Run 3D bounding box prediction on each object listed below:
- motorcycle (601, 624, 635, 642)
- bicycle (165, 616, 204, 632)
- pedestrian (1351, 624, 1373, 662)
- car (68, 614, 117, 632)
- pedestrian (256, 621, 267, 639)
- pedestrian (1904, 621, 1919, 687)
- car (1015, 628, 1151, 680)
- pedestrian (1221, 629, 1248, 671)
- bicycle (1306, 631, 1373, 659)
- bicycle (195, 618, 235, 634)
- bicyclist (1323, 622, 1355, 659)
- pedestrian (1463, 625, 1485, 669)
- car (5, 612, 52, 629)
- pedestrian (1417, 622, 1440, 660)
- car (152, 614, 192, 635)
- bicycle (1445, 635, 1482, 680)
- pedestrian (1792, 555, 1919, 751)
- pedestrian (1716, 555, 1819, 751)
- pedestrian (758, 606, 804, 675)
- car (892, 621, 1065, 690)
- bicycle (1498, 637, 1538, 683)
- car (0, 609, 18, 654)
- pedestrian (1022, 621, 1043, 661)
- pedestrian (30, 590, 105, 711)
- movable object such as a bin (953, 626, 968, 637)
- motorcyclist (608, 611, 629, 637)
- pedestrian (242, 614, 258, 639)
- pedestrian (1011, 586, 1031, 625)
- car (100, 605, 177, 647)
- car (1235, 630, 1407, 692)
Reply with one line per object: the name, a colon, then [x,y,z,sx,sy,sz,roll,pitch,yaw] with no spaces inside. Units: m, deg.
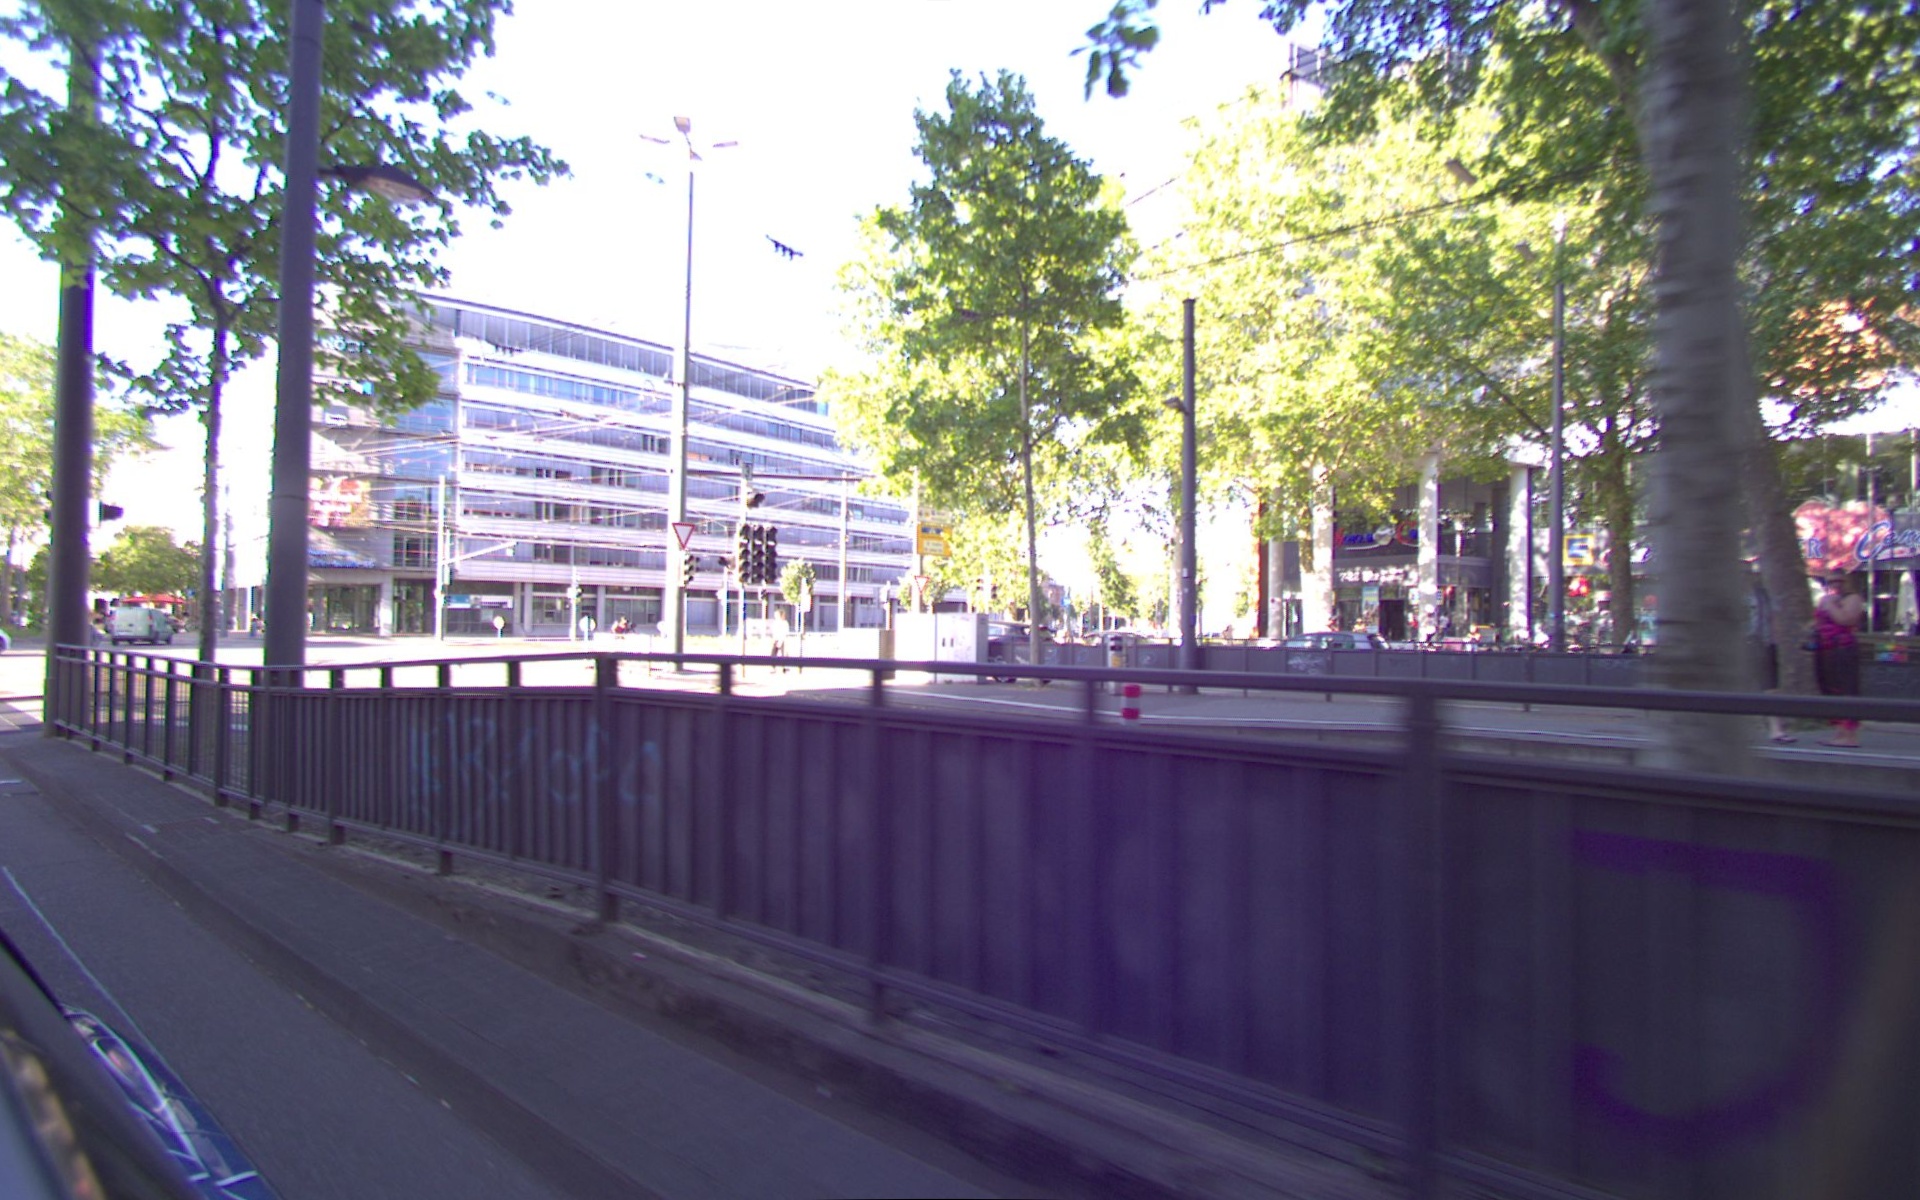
motorcycle: [-24.808,2.384,73.366,0.821,1.230,2.225,0,-1,40]
bicycle: [-62.281,1.915,81.321,0.771,1.223,2.374,-1,-3,25]
pedestrian: [18.131,1.936,45.684,0.695,1.665,0.699,2,-2,-42]
car: [-74.113,1.935,86.461,3.959,1.486,1.849,0,-2,28]
pedestrian: [-47.545,2.048,68.867,0.461,1.219,0.437,-1,-3,40]
pedestrian: [24.471,1.362,25.667,0.705,1.665,0.689,-1,-2,41]
car: [3.805,1.646,31.686,4.000,1.417,1.648,0,-1,43]
pedestrian: [11.265,2.037,41.548,0.716,1.693,0.819,-1,-4,44]
bicycle: [16.331,1.926,43.605,0.881,1.112,2.699,3,-2,-33]
bicycle: [-58.247,2.044,79.151,2.359,1.223,0.776,3,-4,-44]
bicyclist: [16.334,1.754,43.610,0.881,1.560,0.942,3,-3,-34]
pedestrian: [19.989,1.813,39.369,0.694,1.665,0.700,0,-2,23]
car: [-84.107,1.885,91.375,3.959,1.486,1.849,0,-2,28]
pedestrian: [21.808,1.897,47.127,0.687,1.781,0.707,2,-2,-36]
car: [-58.749,1.819,75.443,1.840,1.486,3.980,2,-3,-45]
bicycle: [16.374,1.832,32.895,1.030,1.363,3.331,0,-2,27]
pedestrian: [8.808,0.510,9.950,0.582,1.843,0.747,1,-2,-18]
pedestrian: [7.972,0.506,10.021,0.743,1.843,0.628,-1,-2,36]
pedestrian: [-4.513,1.023,25.544,0.818,1.693,0.717,4,-3,-40]
car: [0.390,1.266,24.149,3.998,1.425,1.649,0,-1,41]
bicycle: [17.700,1.867,32.165,1.030,1.363,3.331,0,-2,27]
car: [-32.960,1.026,32.407,1.817,1.459,4.303,2,0,-5]
pedestrian: [3.487,1.957,48.776,0.733,1.884,0.664,0,-2,41]
pedestrian: [-12.949,0.728,14.704,0.705,1.693,0.832,4,-3,-41]
movable object such as a bin: [0.112,3.670,119.114,1.174,1.311,1.310,-1,-2,44]
motorcyclist: [-24.770,1.720,73.413,0.821,1.871,1.097,0,-1,41]
pedestrian: [-48.257,1.807,68.766,0.792,1.653,0.652,-1,-3,40]
pedestrian: [2.992,0.276,49.644,0.734,1.884,0.689,-1,-2,43]
car: [-39.569,1.222,48.860,1.813,1.849,4.121,2,0,-24]
car: [9.548,1.566,26.967,4.000,1.417,1.648,0,-1,43]
